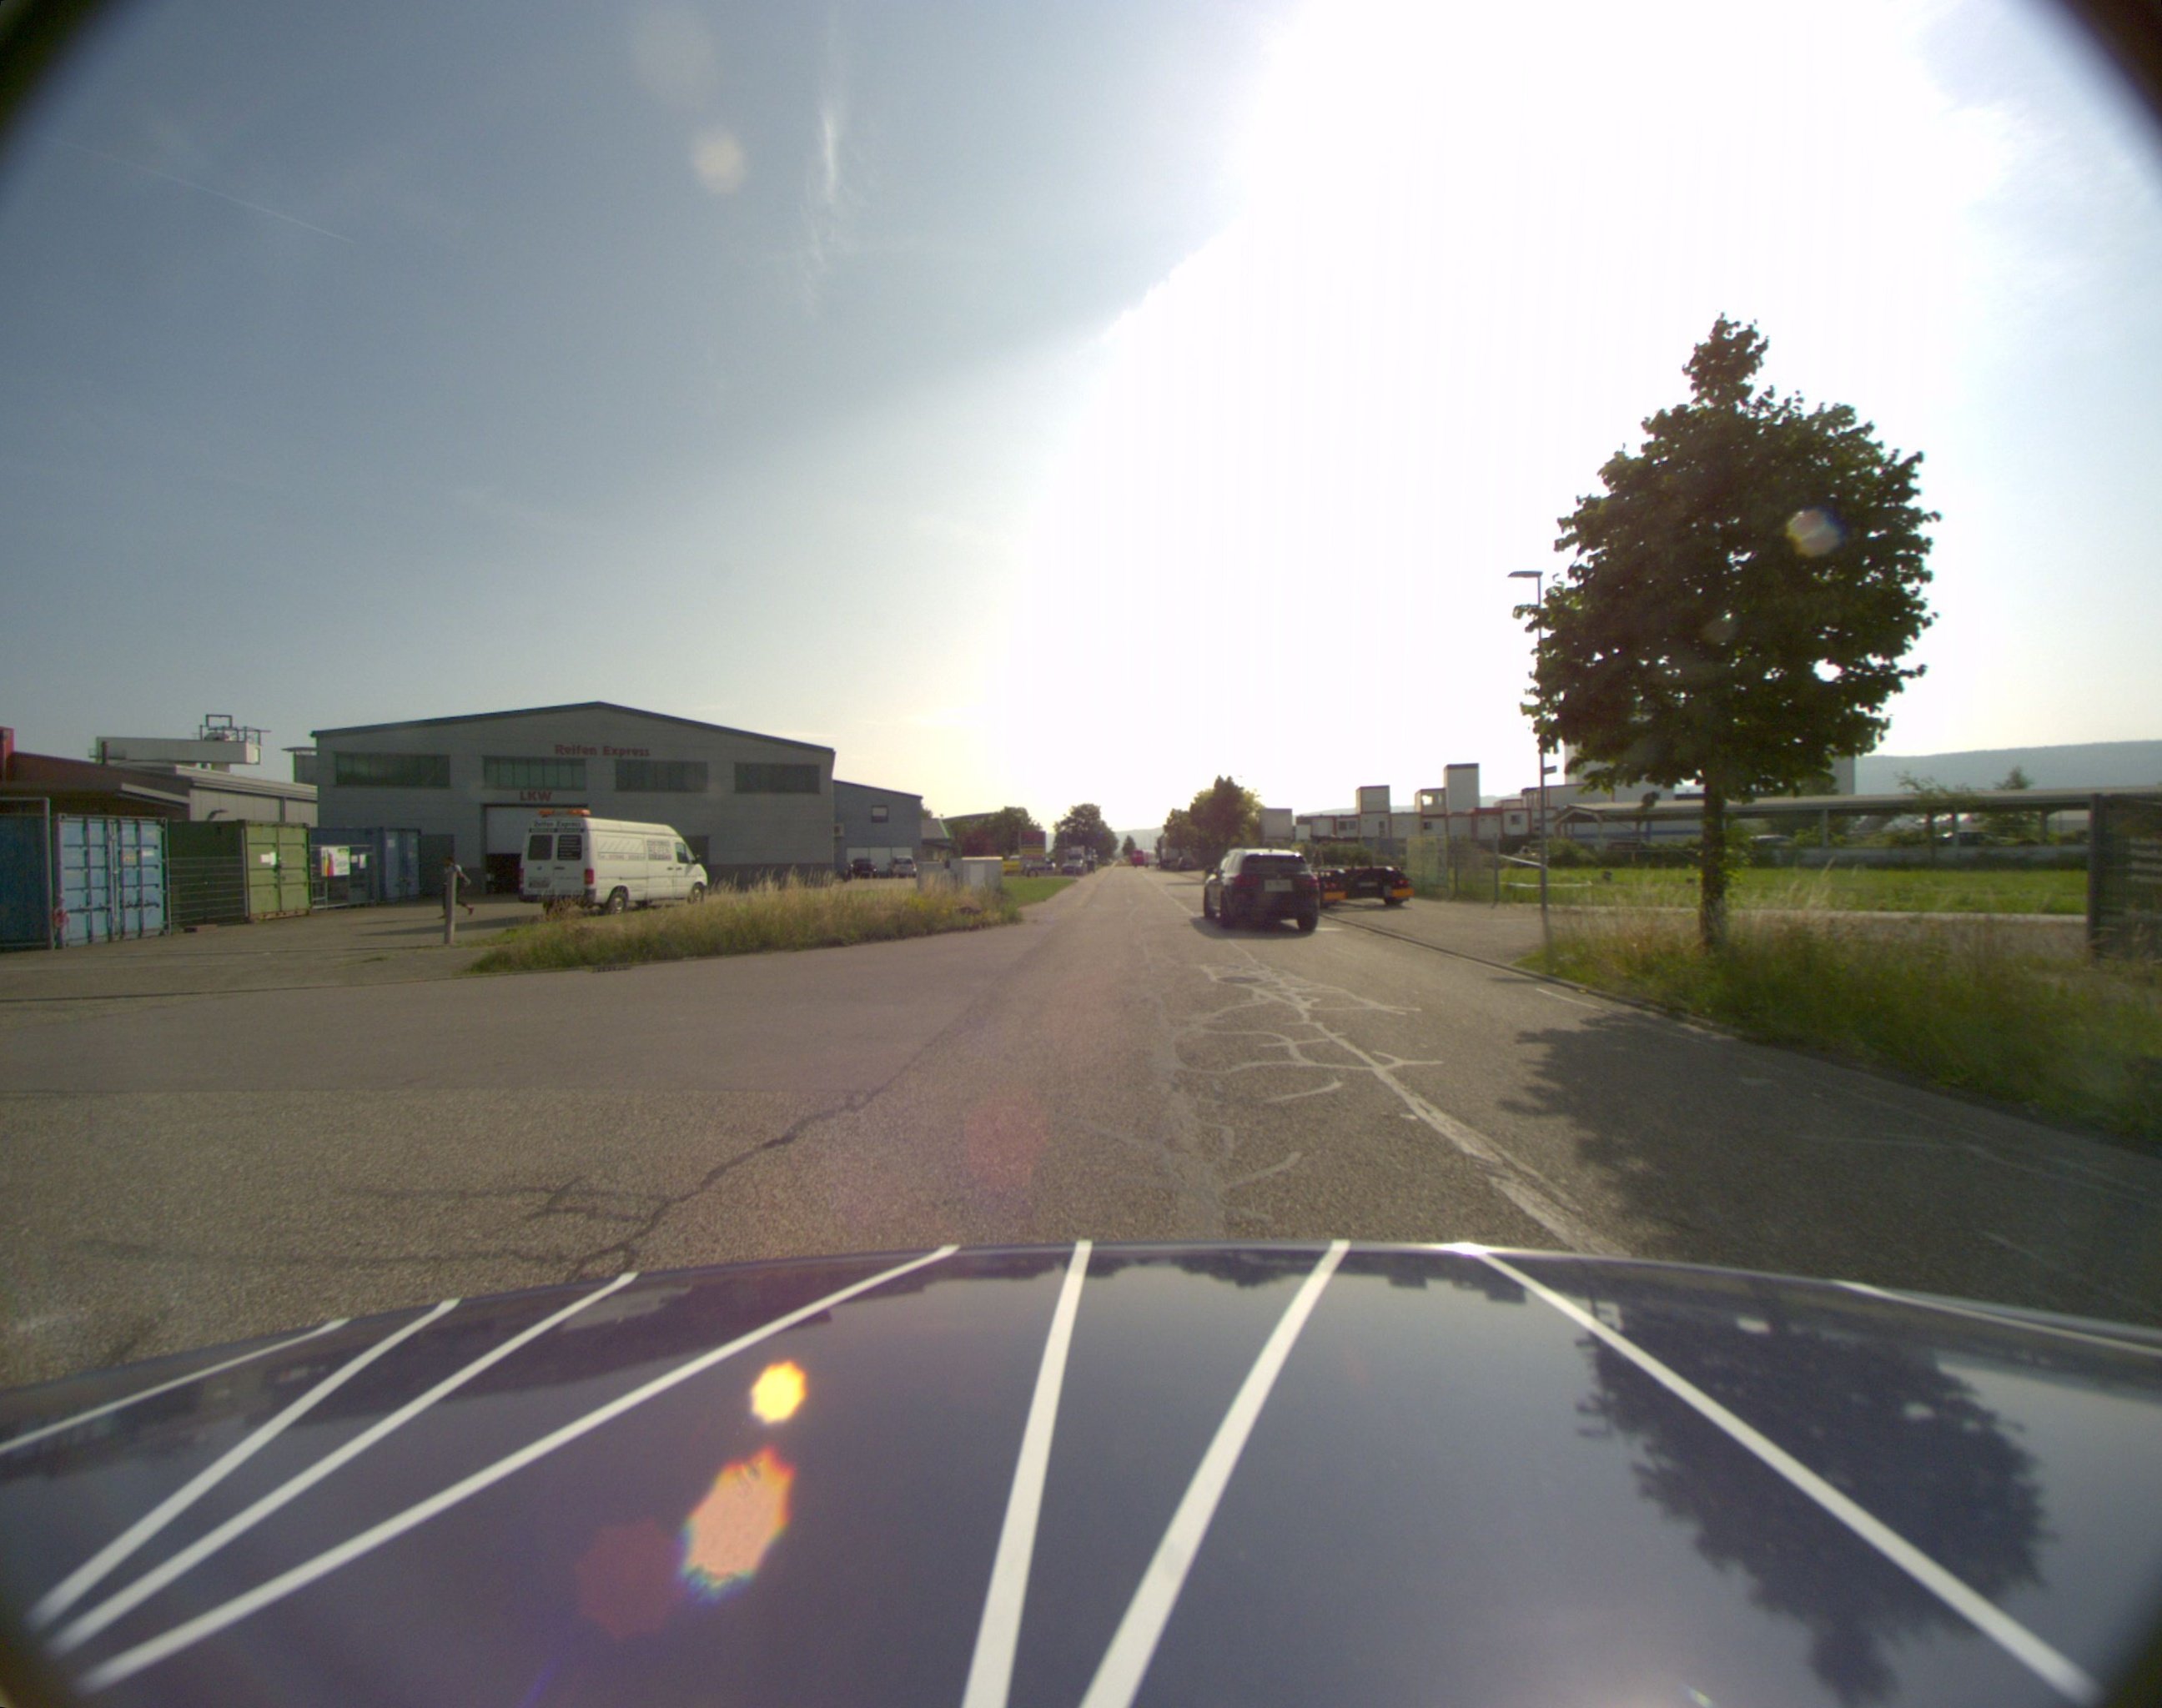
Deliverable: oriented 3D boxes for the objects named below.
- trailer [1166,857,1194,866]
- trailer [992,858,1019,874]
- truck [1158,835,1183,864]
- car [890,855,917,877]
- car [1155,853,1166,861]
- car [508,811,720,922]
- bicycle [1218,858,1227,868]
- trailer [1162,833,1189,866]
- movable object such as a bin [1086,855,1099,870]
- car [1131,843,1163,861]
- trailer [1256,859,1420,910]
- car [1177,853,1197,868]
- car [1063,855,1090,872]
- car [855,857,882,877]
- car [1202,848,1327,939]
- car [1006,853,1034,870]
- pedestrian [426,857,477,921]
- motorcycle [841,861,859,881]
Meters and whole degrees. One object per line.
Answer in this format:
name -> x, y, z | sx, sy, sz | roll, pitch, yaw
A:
trailer -> 11.481, 0.883, 88.485 | 2.655, 0.979, 6.244 | 0, 0, 2
trailer -> -6.230, 0.989, 62.610 | 1.496, 1.241, 2.972 | -2, 0, -20
truck -> 12.413, -0.587, 106.138 | 2.719, 3.861, 9.637 | -2, 0, 3
car -> -13.056, 0.852, 55.720 | 1.640, 1.559, 3.799 | -1, 0, -18
car -> 15.789, 0.571, 151.151 | 1.816, 1.617, 4.250 | 0, 0, 3
car -> -12.811, 0.307, 21.516 | 1.978, 2.690, 5.882 | -1, 0, 5
bicycle -> 14.123, 0.849, 75.940 | 0.563, 0.967, 2.453 | -1, 0, 3
trailer -> 11.905, -0.520, 96.514 | 2.706, 3.861, 9.768 | -2, 0, 4
movable object such as a bin -> 1.098, 0.812, 72.427 | 1.083, 1.345, 1.506 | 2, 0, 6
car -> 9.771, -0.355, 112.534 | 2.275, 2.524, 6.757 | -2, 0, 26
trailer -> 7.891, 0.835, 24.851 | 2.588, 1.177, 9.364 | -2, 0, 3
car -> 10.639, 0.632, 76.610 | 1.691, 1.461, 4.095 | -1, 0, 4
car -> -0.350, 0.770, 65.426 | 1.677, 1.360, 4.396 | -1, 0, 8
car -> -15.266, 0.895, 54.401 | 1.683, 1.394, 3.706 | -1, 0, -18
car -> 3.851, 0.757, 16.696 | 1.860, 1.705, 4.227 | 1, 0, 2
car -> -6.032, 0.736, 74.700 | 1.722, 1.563, 4.126 | -1, 0, -21
pedestrian -> -16.595, 0.911, 20.050 | 0.703, 1.630, 0.750 | -1, 1, 19
motorcycle -> -13.236, 0.970, 43.499 | 0.804, 1.088, 2.198 | -1, 0, -21
